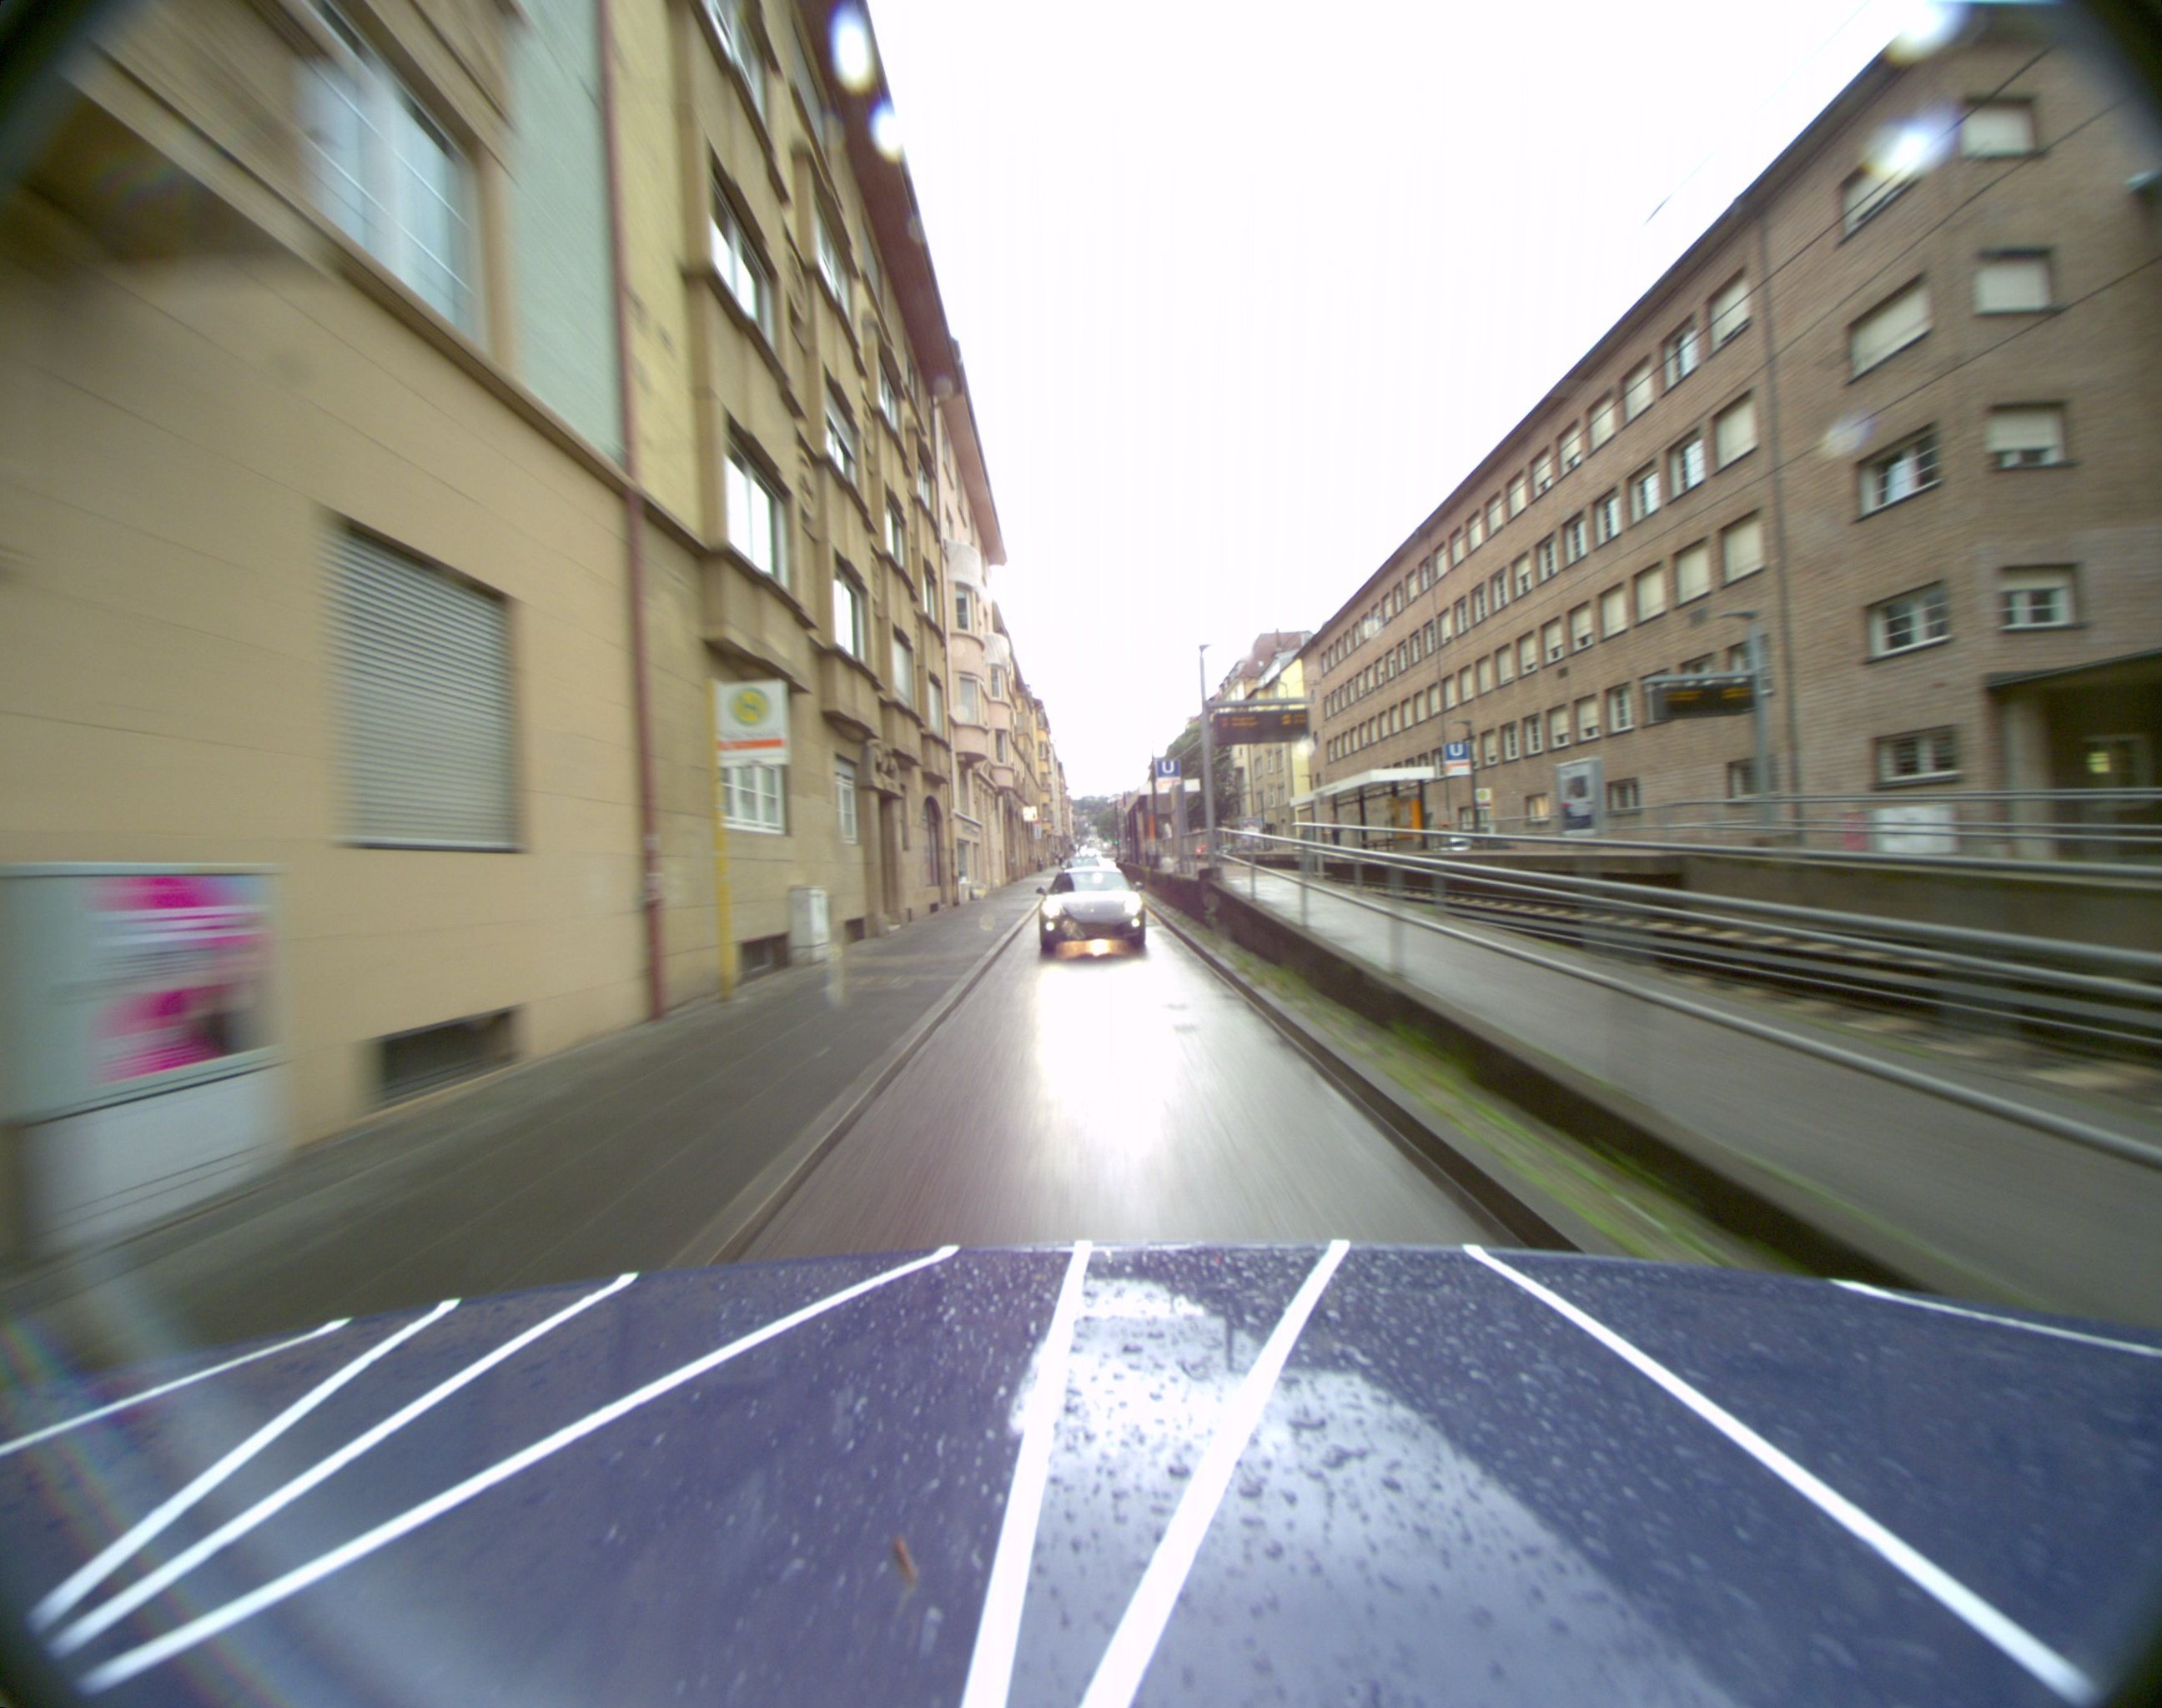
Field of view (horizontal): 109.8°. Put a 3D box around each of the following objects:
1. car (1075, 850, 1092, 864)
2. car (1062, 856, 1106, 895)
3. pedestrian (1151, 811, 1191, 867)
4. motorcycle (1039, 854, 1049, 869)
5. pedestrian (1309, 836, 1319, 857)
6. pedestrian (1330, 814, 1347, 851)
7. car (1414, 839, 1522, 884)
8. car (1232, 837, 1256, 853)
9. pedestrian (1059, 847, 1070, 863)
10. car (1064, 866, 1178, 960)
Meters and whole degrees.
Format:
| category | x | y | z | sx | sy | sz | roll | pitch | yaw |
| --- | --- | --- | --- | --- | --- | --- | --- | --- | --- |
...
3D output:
| category | x | y | z | sx | sy | sz | roll | pitch | yaw |
| --- | --- | --- | --- | --- | --- | --- | --- | --- | --- |
| car | 0.292 | 0.276 | 84.125 | 1.633 | 1.443 | 4.000 | -3 | 0 | 2 |
| car | 0.137 | 0.834 | 31.417 | 1.689 | 1.451 | 3.299 | -1 | 1 | 1 |
| pedestrian | 3.006 | -0.493 | 25.470 | 1.116 | 1.764 | 1.111 | -3 | 1 | 0 |
| motorcycle | -3.259 | 0.630 | 66.639 | 0.692 | 1.230 | 1.779 | 2 | 1 | 1 |
| pedestrian | 18.410 | -0.573 | 59.999 | 0.550 | 1.644 | 0.542 | -3 | 1 | 2 |
| pedestrian | 11.946 | -0.986 | 35.232 | 0.588 | 1.699 | 0.491 | -2 | 1 | 0 |
| car | 14.485 | 0.235 | 28.745 | 1.648 | 1.488 | 4.763 | -3 | 0 | 1 |
| car | 15.361 | -0.849 | 71.706 | 1.648 | 1.458 | 3.111 | -3 | 1 | 2 |
| pedestrian | -1.878 | 0.122 | 87.740 | 1.125 | 1.703 | 1.102 | -3 | 1 | 2 |
| car | 0.701 | 0.947 | 13.855 | 1.704 | 1.280 | 4.195 | -3 | 0 | 2 |
